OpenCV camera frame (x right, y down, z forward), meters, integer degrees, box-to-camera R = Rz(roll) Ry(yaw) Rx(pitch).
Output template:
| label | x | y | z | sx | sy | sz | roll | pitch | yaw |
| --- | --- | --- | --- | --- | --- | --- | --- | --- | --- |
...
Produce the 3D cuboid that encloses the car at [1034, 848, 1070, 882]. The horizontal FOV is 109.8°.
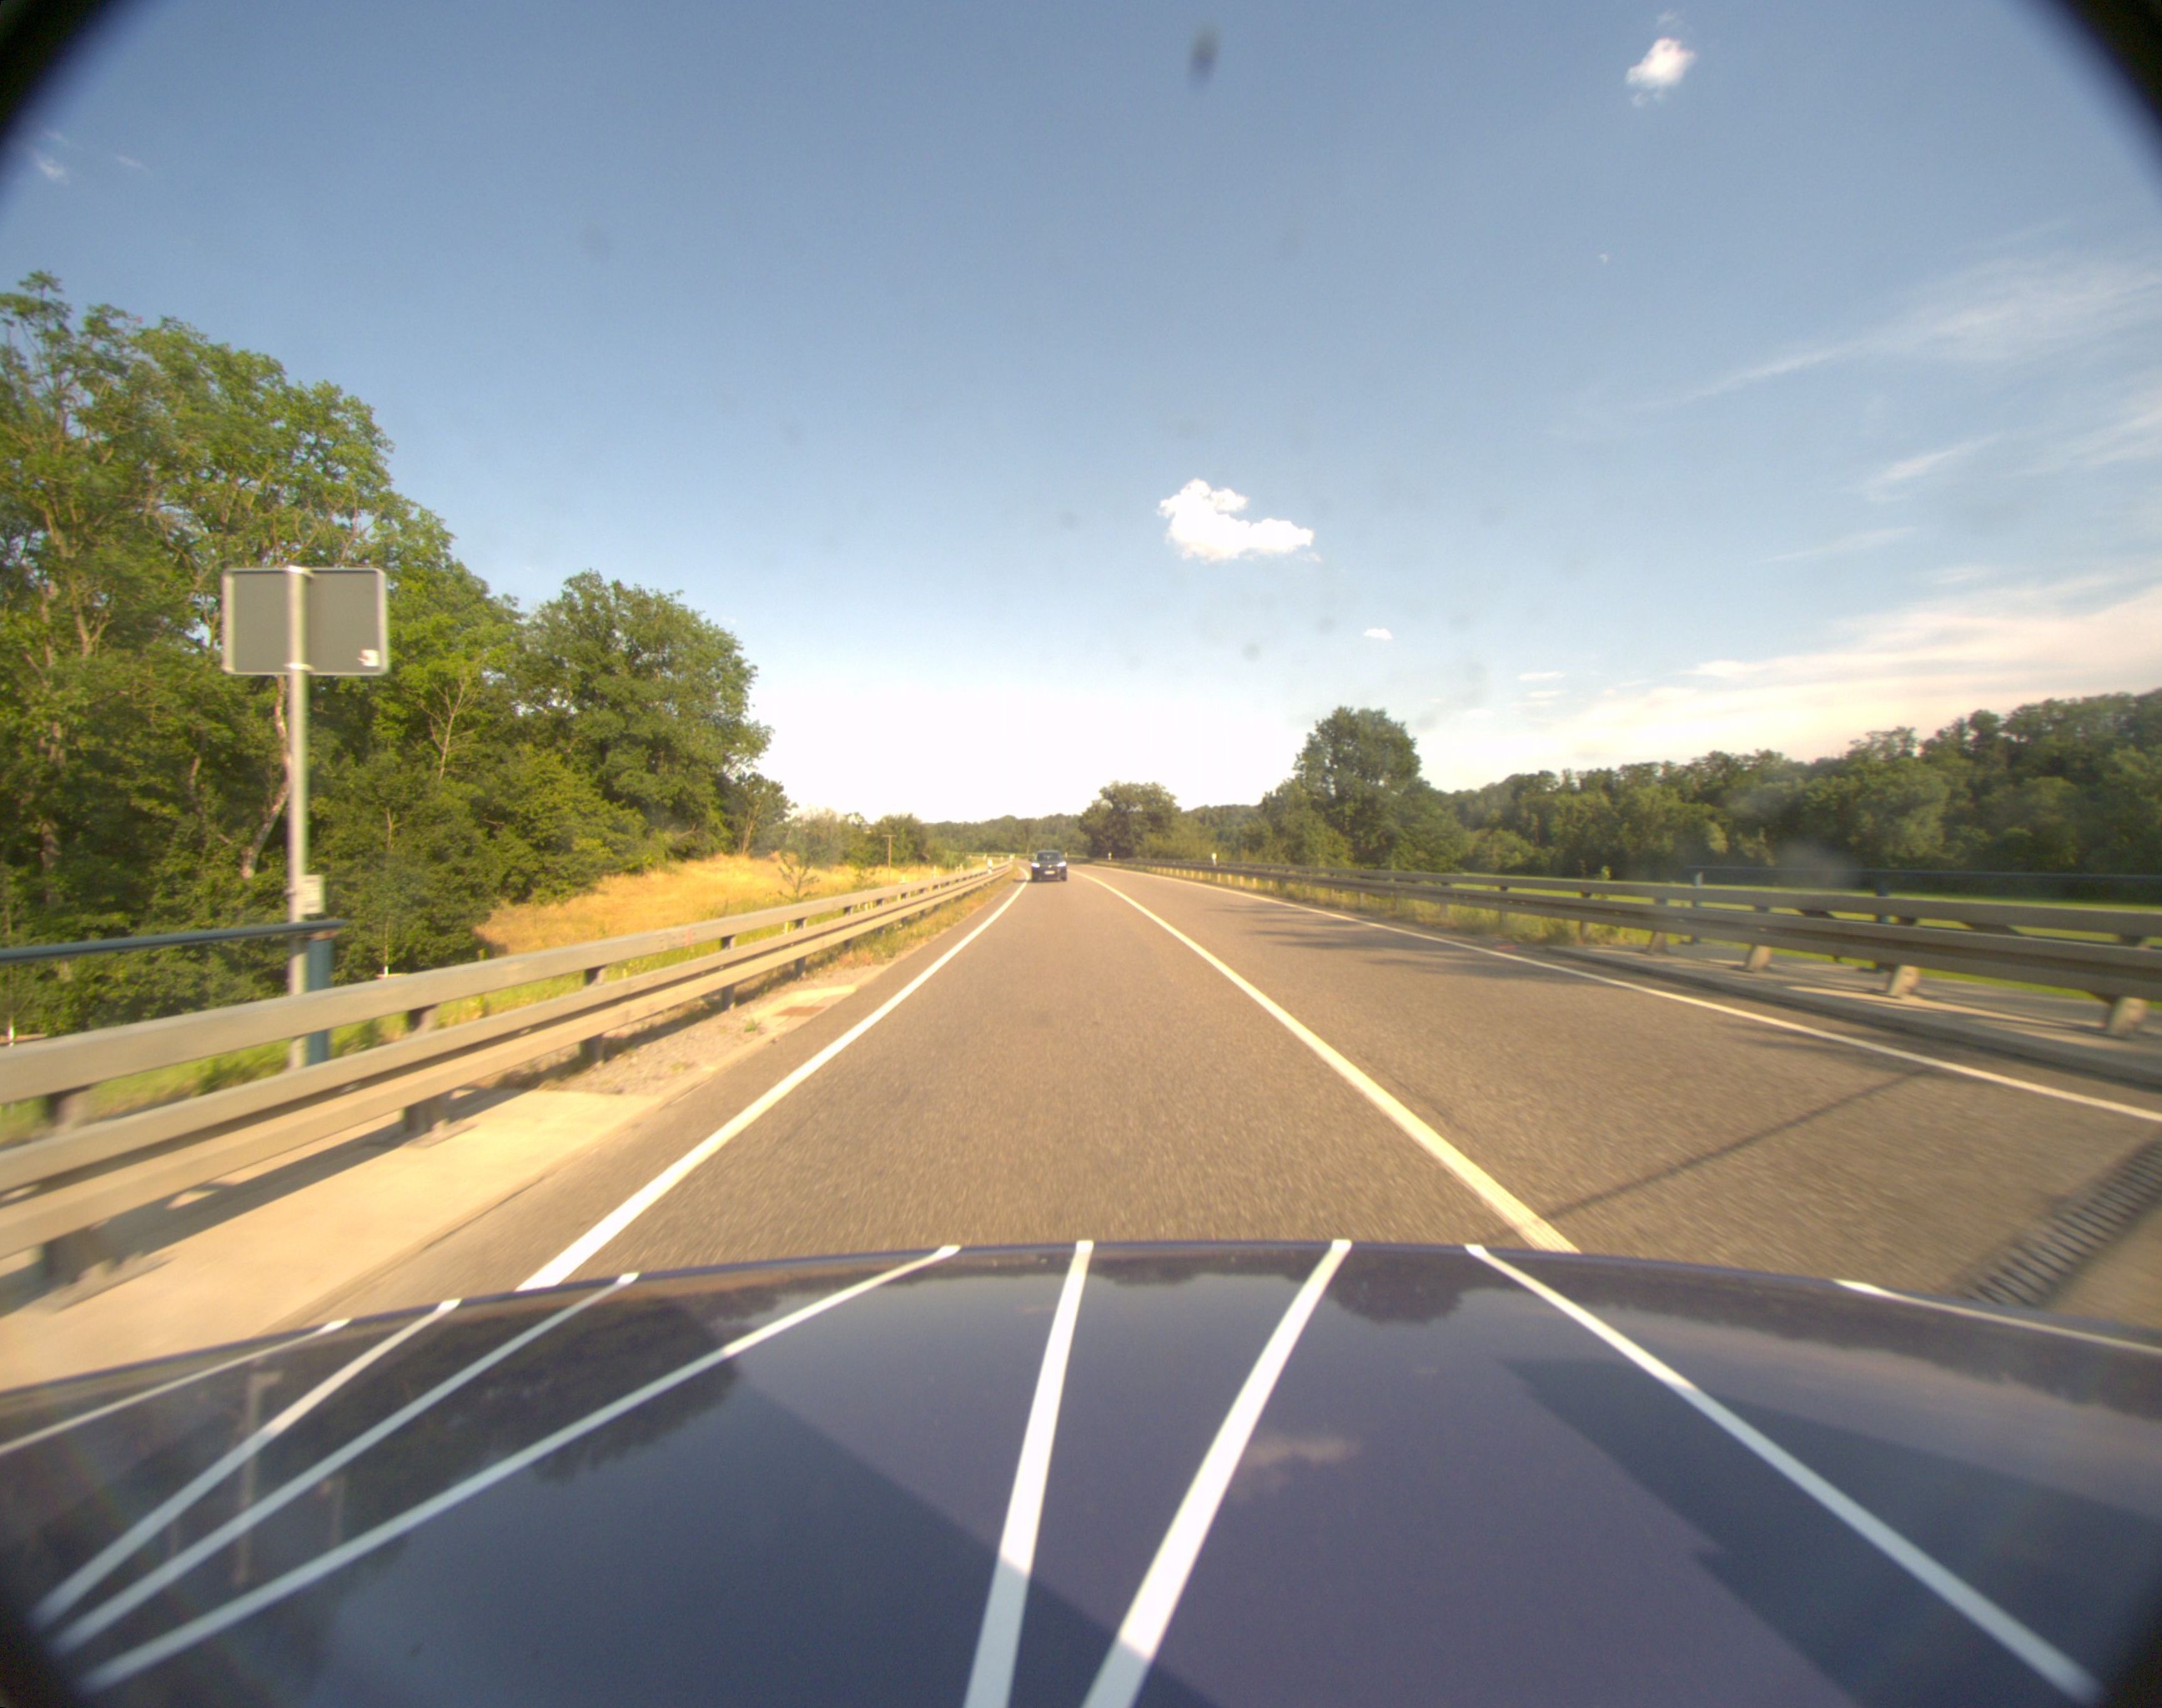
| label | x | y | z | sx | sy | sz | roll | pitch | yaw |
| --- | --- | --- | --- | --- | --- | --- | --- | --- | --- |
| car | -1.579 | 0.542 | 40.642 | 1.751 | 1.645 | 4.304 | -1 | 0 | -4 |
